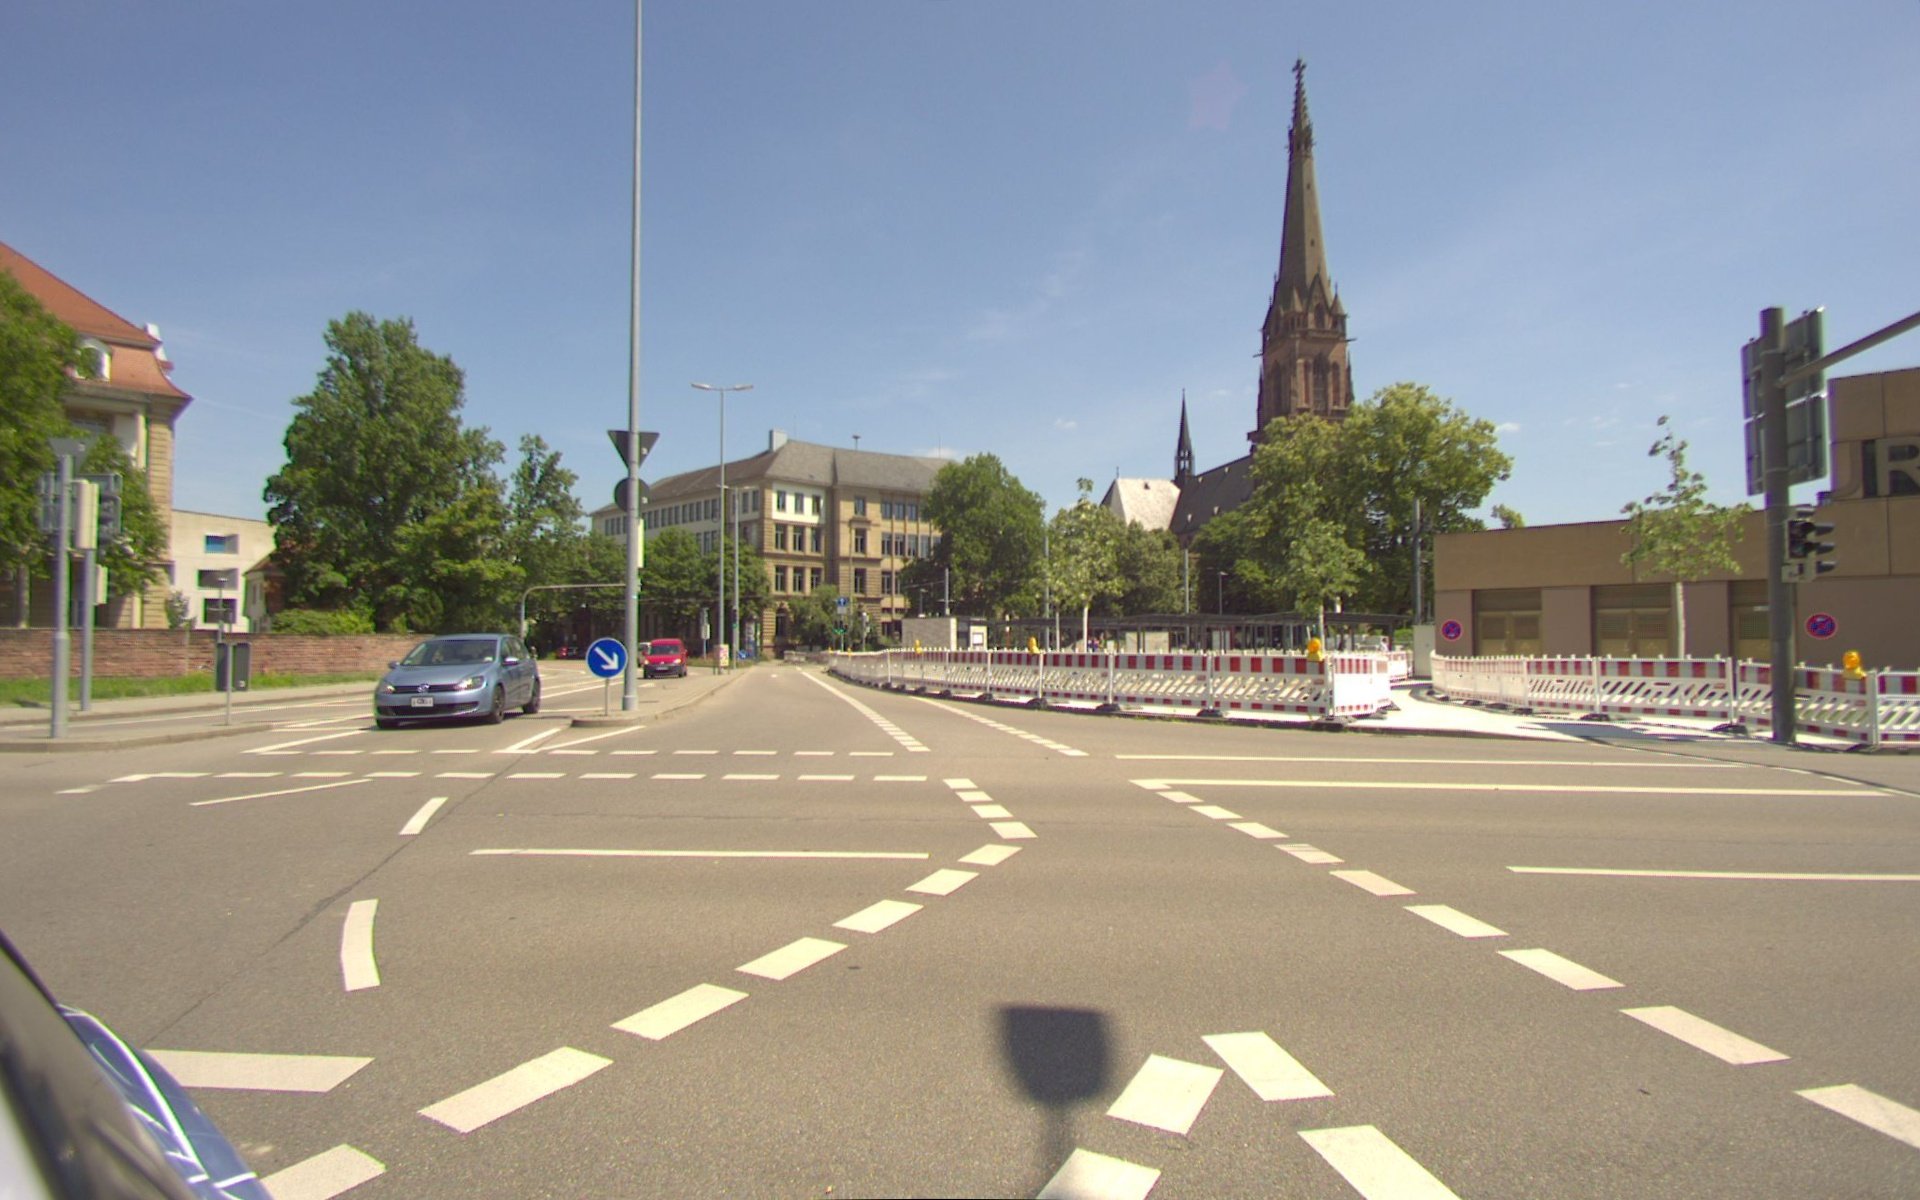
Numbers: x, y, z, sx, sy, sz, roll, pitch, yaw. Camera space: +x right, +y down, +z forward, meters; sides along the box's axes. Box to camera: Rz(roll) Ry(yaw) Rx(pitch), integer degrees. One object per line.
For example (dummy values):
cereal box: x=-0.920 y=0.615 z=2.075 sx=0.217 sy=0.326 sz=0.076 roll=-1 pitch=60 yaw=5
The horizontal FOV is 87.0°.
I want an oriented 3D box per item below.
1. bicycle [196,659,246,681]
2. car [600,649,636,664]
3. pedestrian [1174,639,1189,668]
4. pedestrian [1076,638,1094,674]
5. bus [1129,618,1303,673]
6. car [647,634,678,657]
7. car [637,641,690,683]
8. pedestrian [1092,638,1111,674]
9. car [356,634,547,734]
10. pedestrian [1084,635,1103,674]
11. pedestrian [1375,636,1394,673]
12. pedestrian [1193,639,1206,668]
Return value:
bicycle: x=-34.522 y=3.256 z=47.298 sx=0.677 sy=0.935 sz=1.754 roll=-4 pitch=-3 yaw=34
car: x=-35.017 y=5.733 z=103.526 sx=1.794 sy=1.439 sz=4.430 roll=4 pitch=-5 yaw=-44
pedestrian: x=13.072 y=3.134 z=59.752 sx=0.546 sy=1.667 sz=0.618 roll=-4 pitch=-3 yaw=40
pedestrian: x=6.426 y=2.870 z=51.939 sx=0.658 sy=1.769 sz=0.534 roll=-4 pitch=-3 yaw=35
bus: x=15.753 y=2.898 z=63.241 sx=2.813 sy=3.077 sz=10.611 roll=0 pitch=-3 yaw=-44
car: x=-24.155 y=3.690 z=82.314 sx=1.901 sy=1.809 sz=5.042 roll=0 pitch=-2 yaw=-10
car: x=-13.685 y=2.829 z=46.870 sx=1.804 sy=1.780 sz=4.287 roll=-2 pitch=-2 yaw=-9
pedestrian: x=7.204 y=2.825 z=51.408 sx=0.638 sy=1.802 sz=0.636 roll=-5 pitch=-3 yaw=44
car: x=-8.129 y=1.289 z=16.583 sx=1.803 sy=1.425 sz=4.003 roll=0 pitch=-2 yaw=-12
pedestrian: x=6.607 y=2.690 z=50.229 sx=0.577 sy=1.920 sz=0.683 roll=-5 pitch=-3 yaw=43
pedestrian: x=21.957 y=2.808 z=52.334 sx=0.606 sy=1.872 sz=0.690 roll=-4 pitch=-3 yaw=40
pedestrian: x=13.944 y=3.112 z=58.927 sx=0.520 sy=1.632 sz=0.530 roll=-4 pitch=-3 yaw=40
